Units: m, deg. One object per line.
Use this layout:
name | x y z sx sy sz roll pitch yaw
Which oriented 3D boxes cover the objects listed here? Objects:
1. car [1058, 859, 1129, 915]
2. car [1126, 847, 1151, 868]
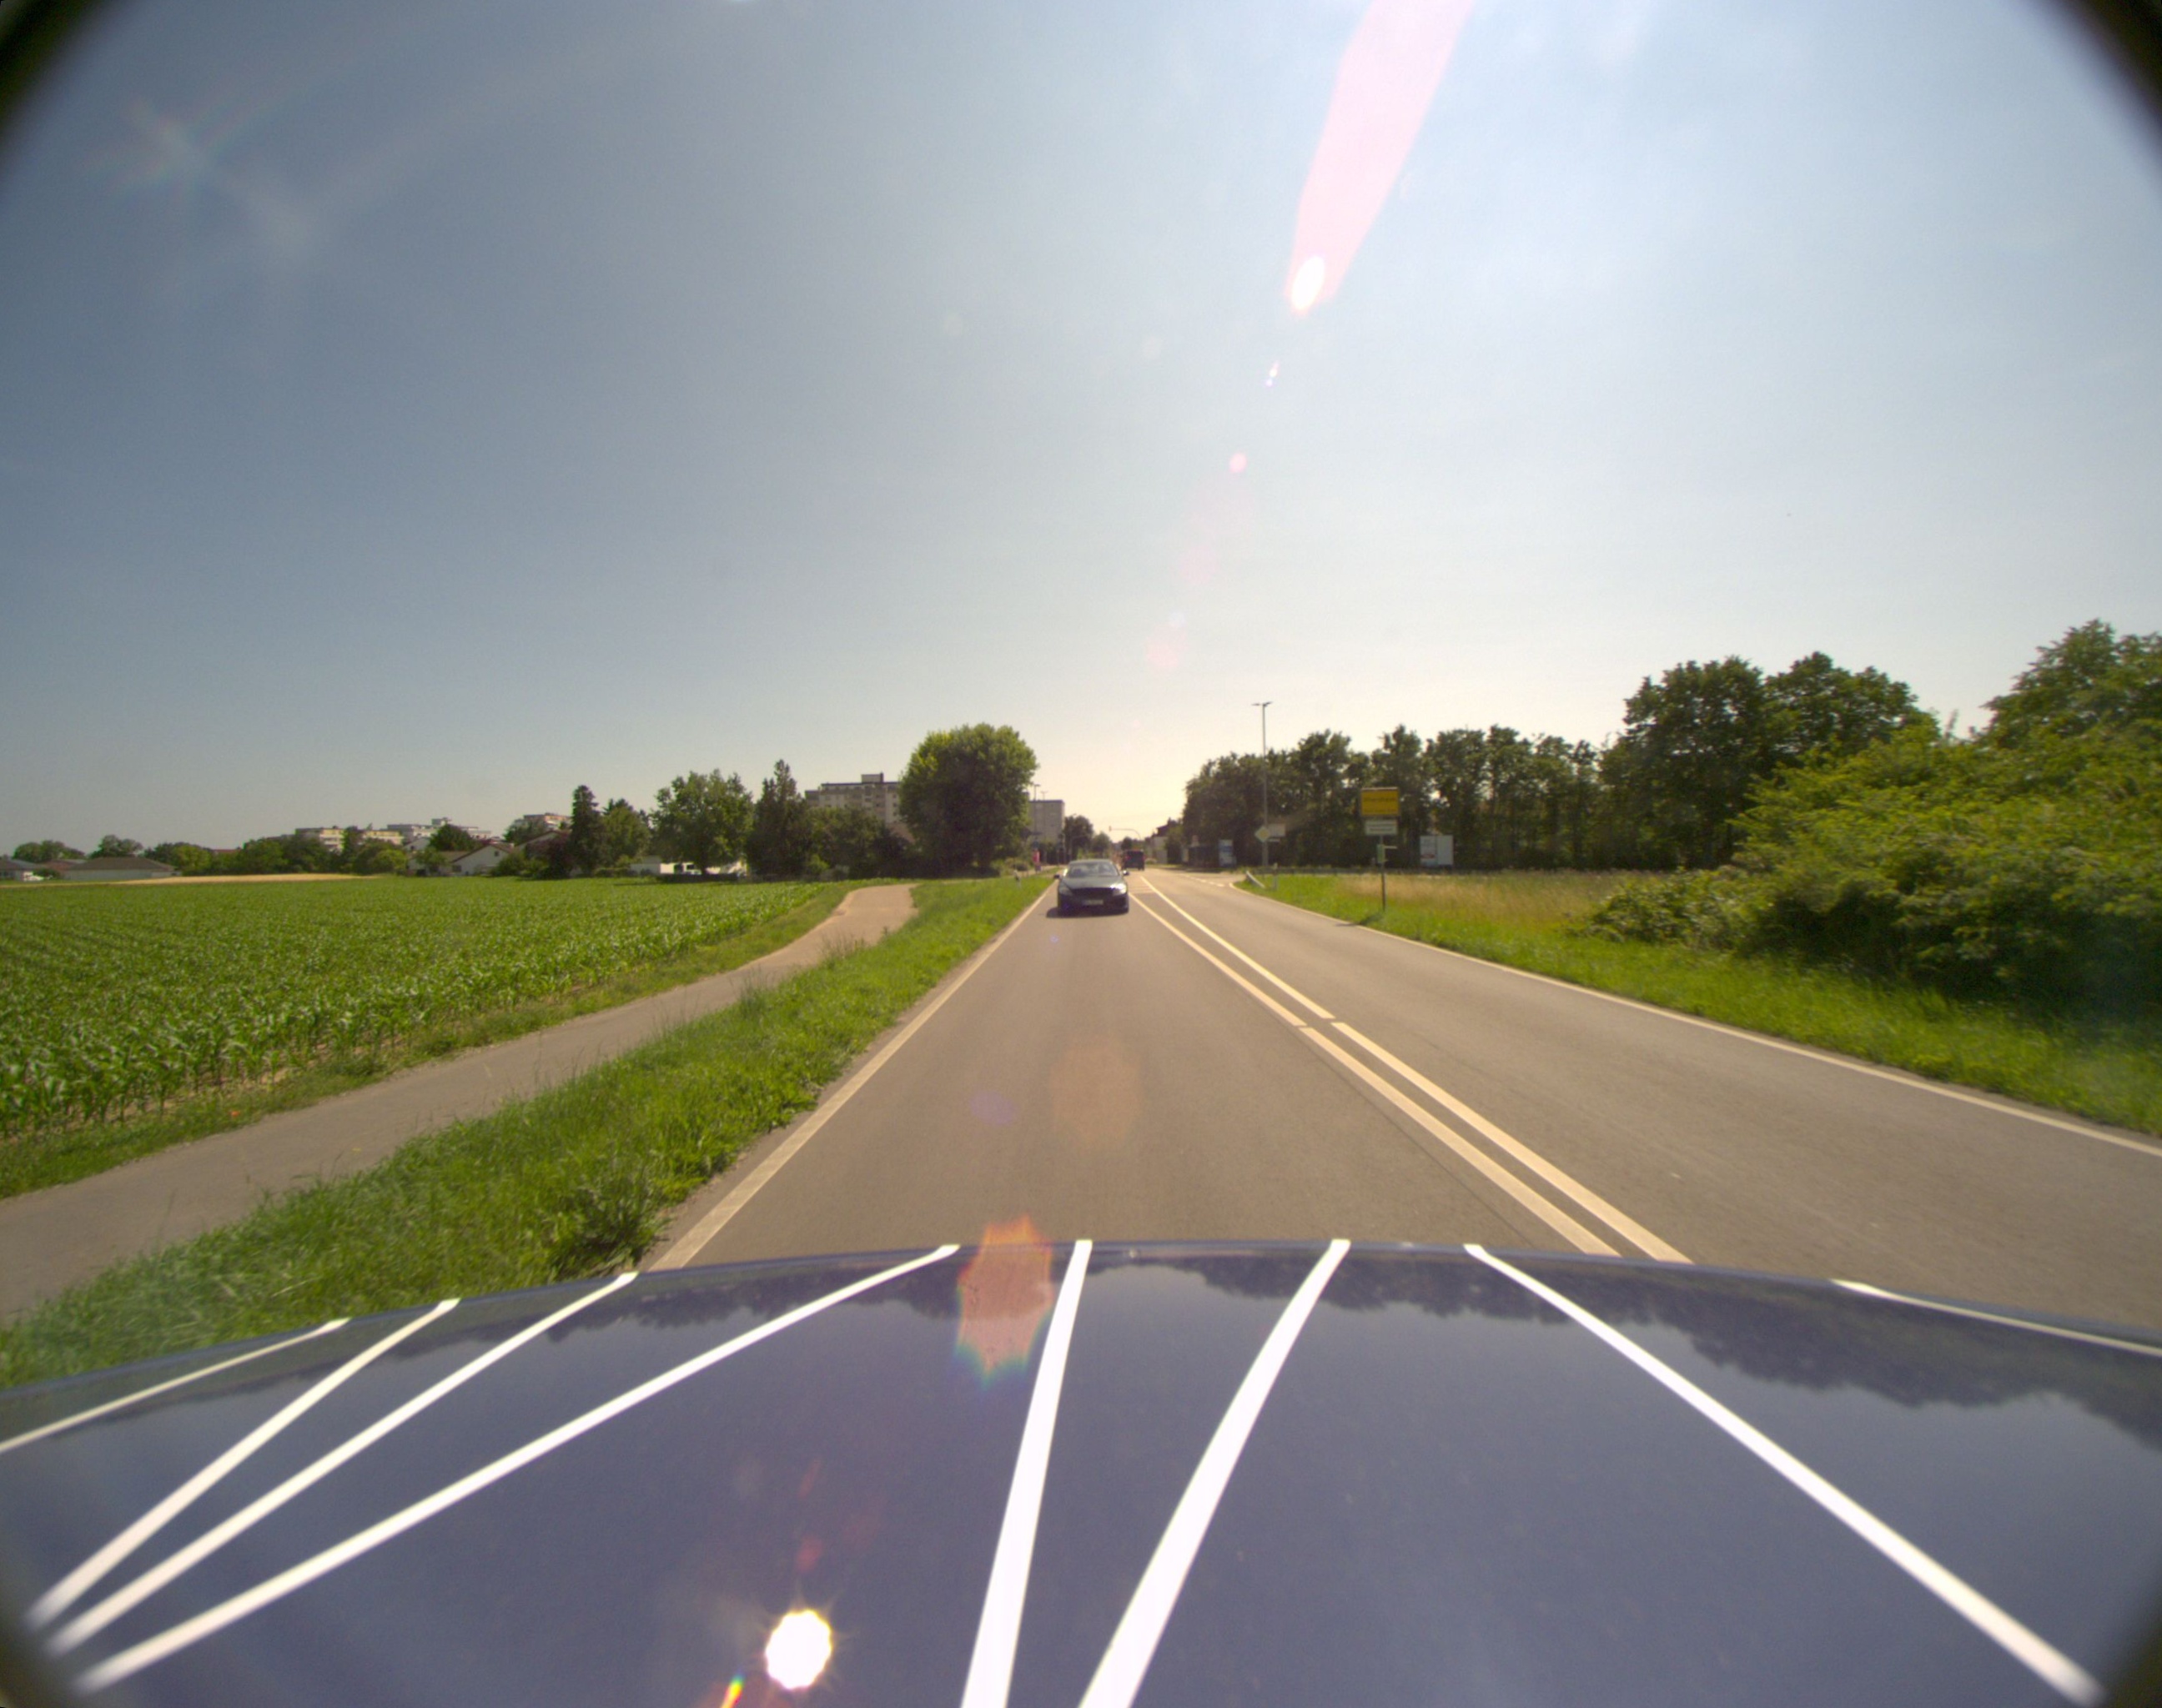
car | 0.308 0.908 23.147 1.889 1.429 4.838 -2 0 -1
car | 5.605 0.347 74.919 2.149 1.940 5.247 0 0 1
